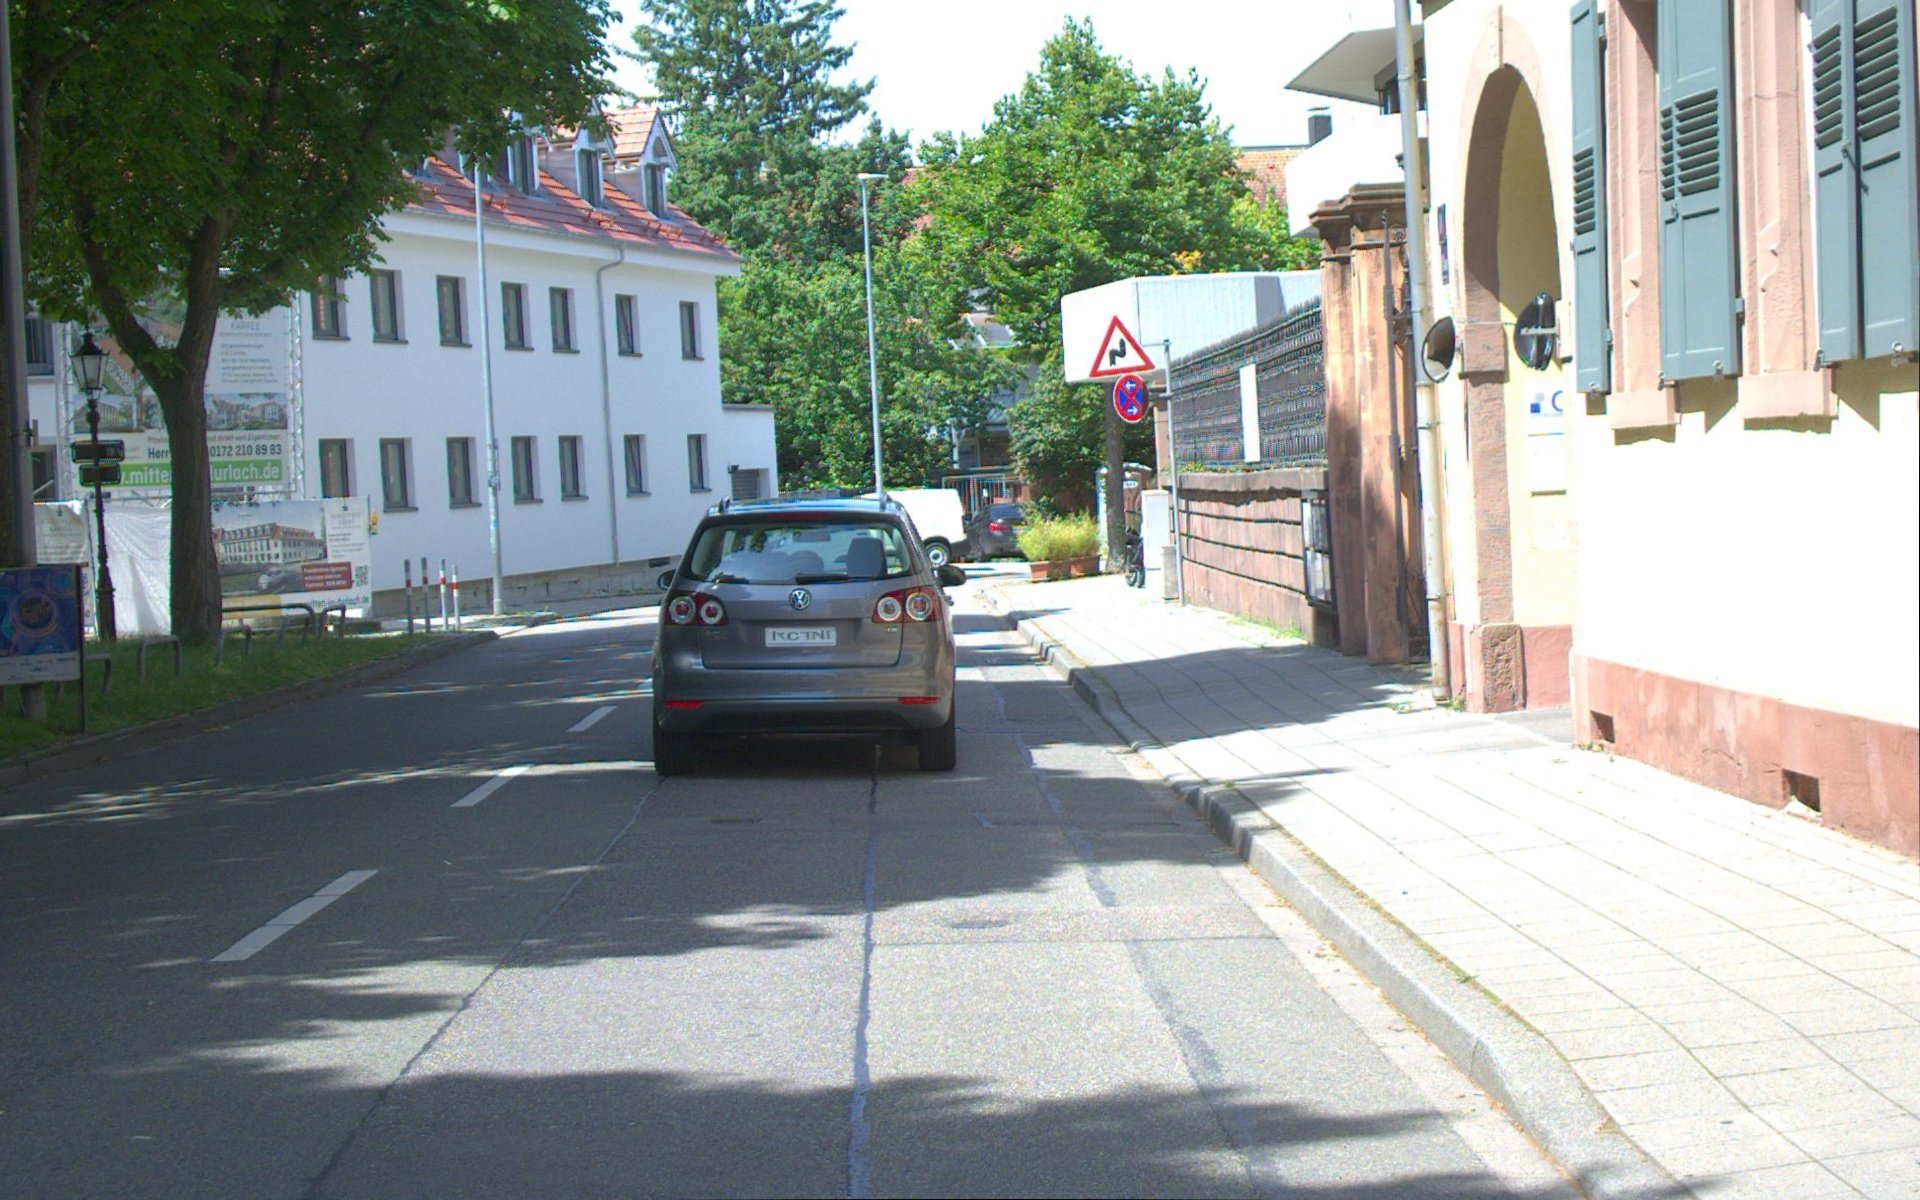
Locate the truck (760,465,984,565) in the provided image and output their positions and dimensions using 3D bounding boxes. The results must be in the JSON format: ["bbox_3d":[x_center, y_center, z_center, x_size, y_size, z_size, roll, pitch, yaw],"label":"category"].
[{"bbox_3d":[-2.015,-1.935,77.985,4.792,2.006,2.146,-3,2,-8],"label":"truck"}]

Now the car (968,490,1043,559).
[{"bbox_3d":[1.082,-1.834,82.772,1.647,1.568,3.639,-2,2,-1],"label":"car"}]

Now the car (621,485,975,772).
[{"bbox_3d":[-0.920,0.092,20.918,1.903,1.528,4.244,-1,2,-1],"label":"car"}]
